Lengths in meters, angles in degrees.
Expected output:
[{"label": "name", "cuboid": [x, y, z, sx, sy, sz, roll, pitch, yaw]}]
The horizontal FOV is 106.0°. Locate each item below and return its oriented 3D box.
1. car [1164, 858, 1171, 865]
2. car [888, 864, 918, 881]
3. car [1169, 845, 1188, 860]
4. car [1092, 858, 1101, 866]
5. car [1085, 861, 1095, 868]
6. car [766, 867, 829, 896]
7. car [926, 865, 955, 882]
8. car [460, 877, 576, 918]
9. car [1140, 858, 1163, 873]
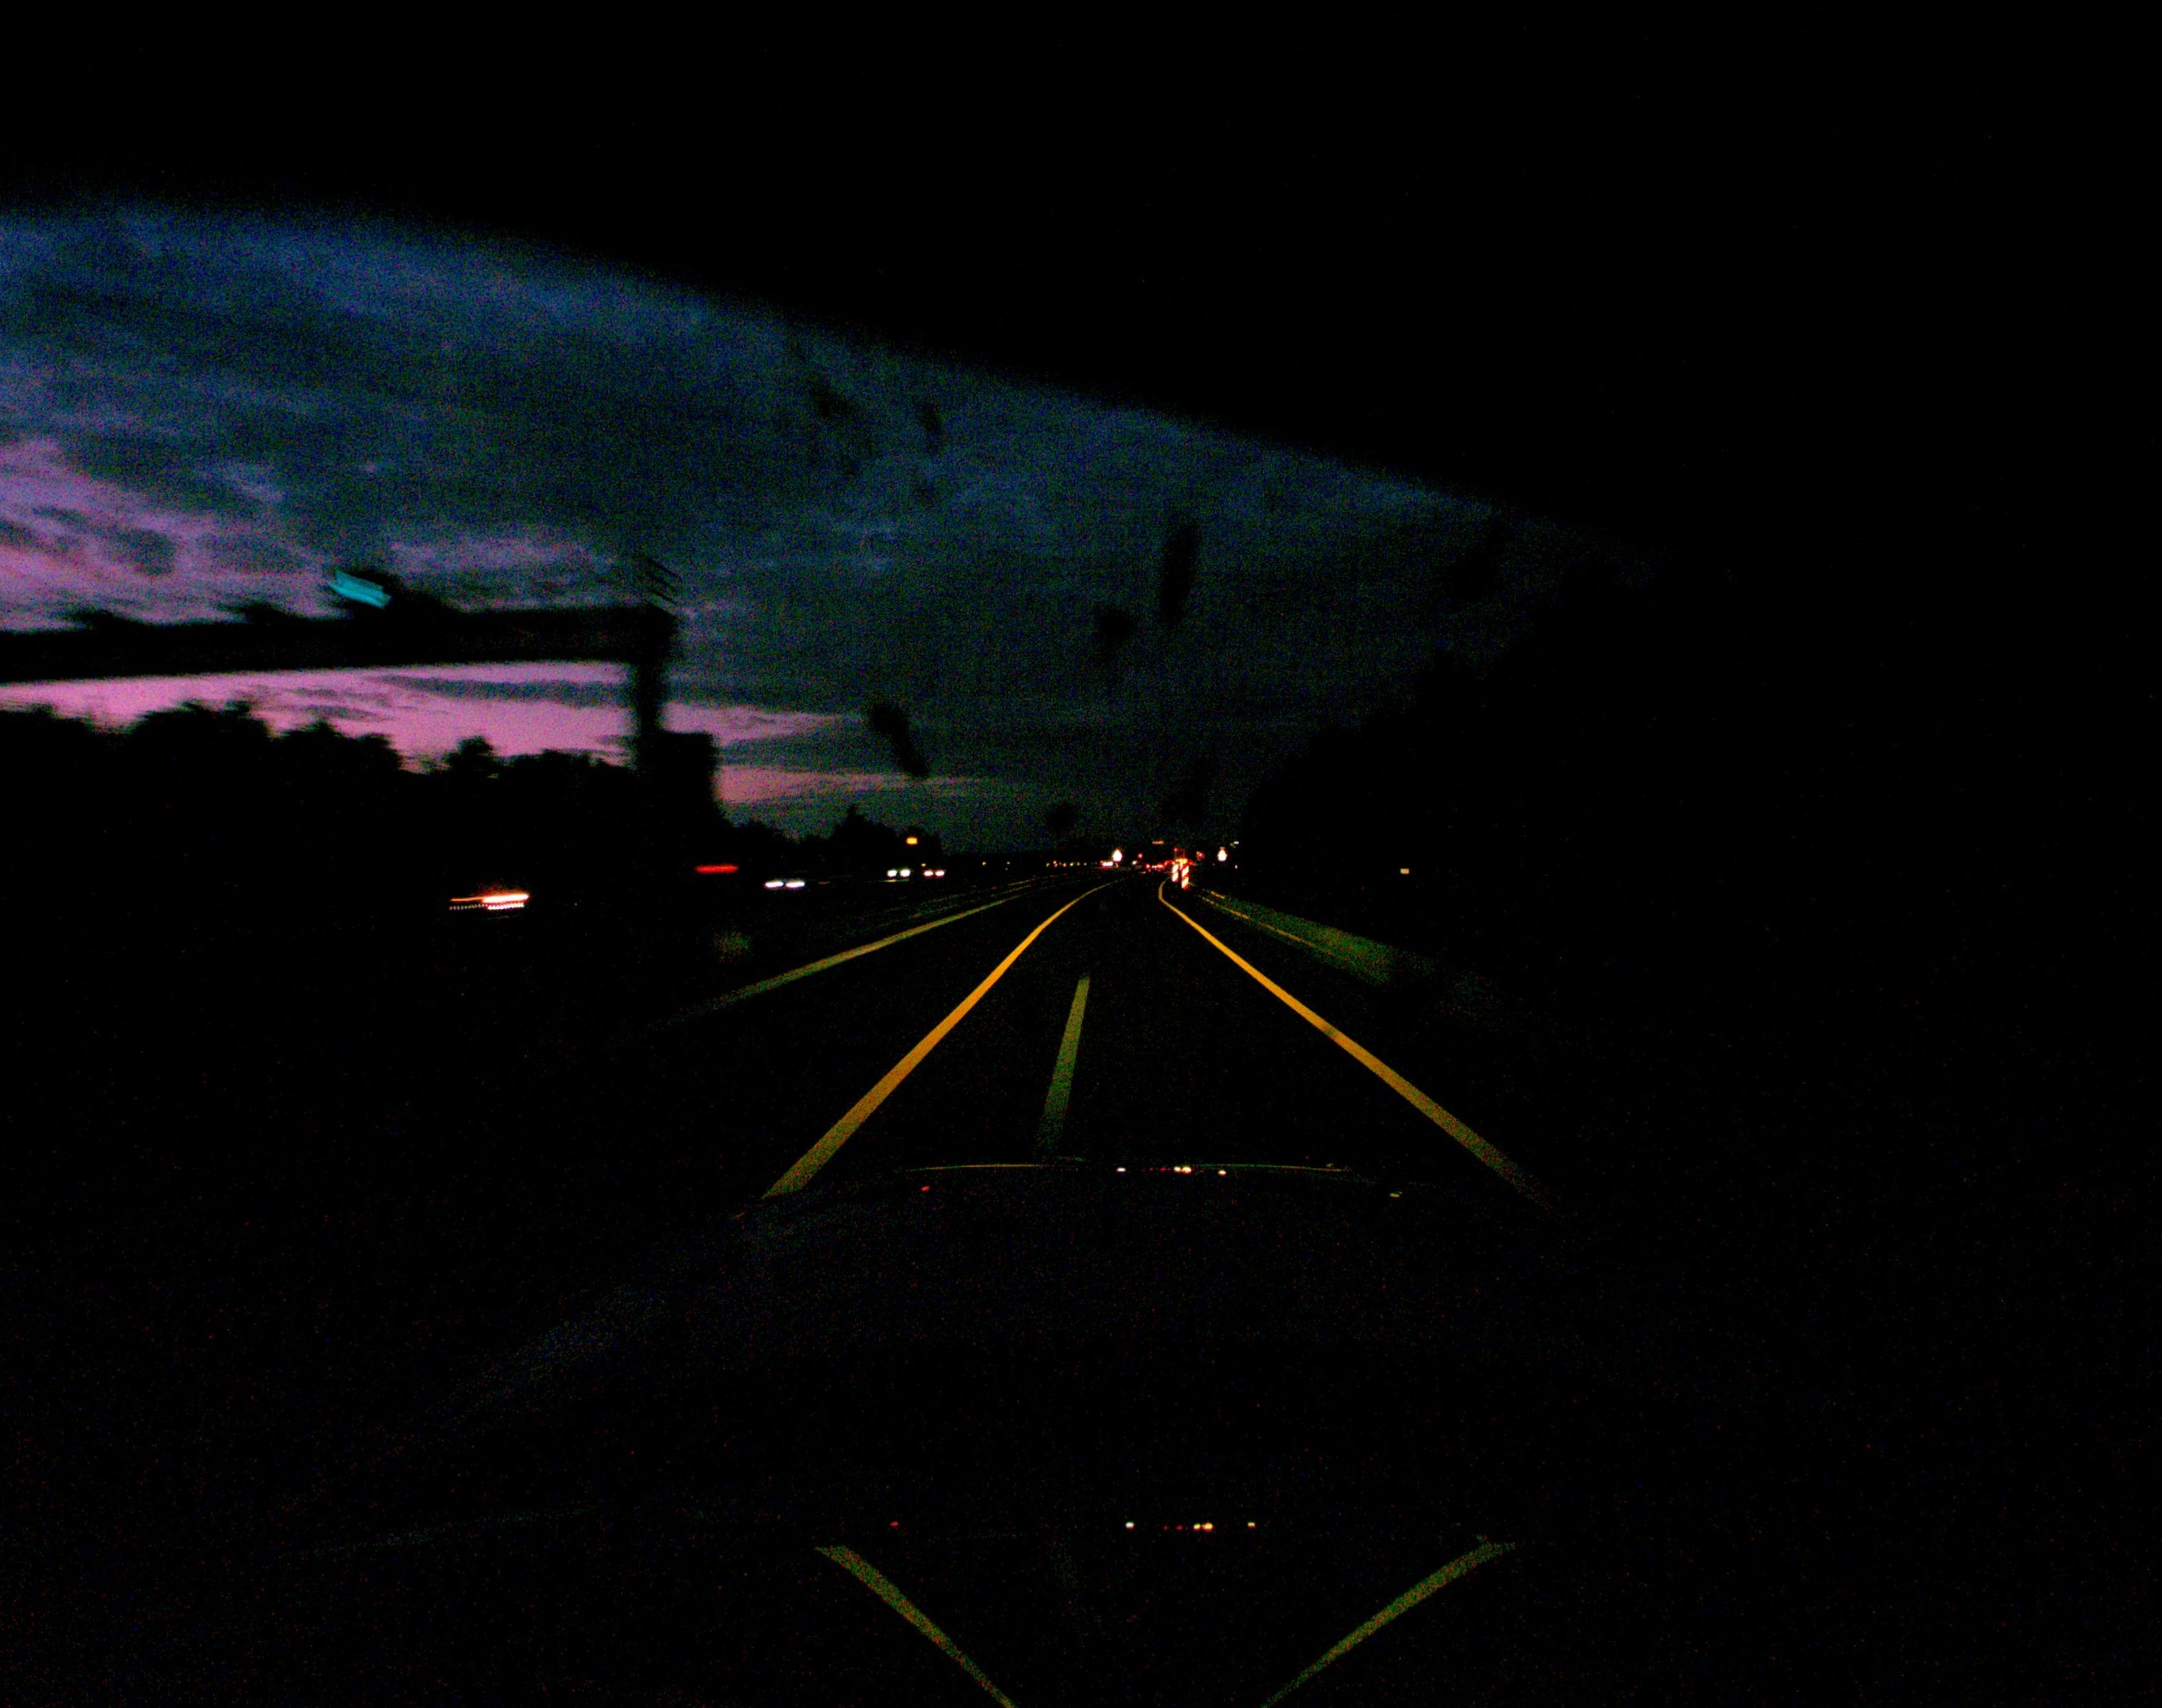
[{"label": "car", "cuboid": [27.632, 2.370, 260.323, 1.983, 2.014, 4.007, 0, -1, 6]}, {"label": "car", "cuboid": [-18.723, 1.926, 85.835, 1.897, 1.715, 3.949, 0, -1, 5]}, {"label": "car", "cuboid": [23.757, -0.372, 198.255, 3.594, 3.396, 8.012, 0, -1, 0]}, {"label": "car", "cuboid": [3.763, 1.956, 197.191, 1.983, 1.828, 4.007, 0, -1, 6]}, {"label": "car", "cuboid": [2.089, 2.495, 190.035, 1.983, 1.714, 4.007, 0, -1, 6]}, {"label": "car", "cuboid": [-17.402, 1.651, 50.273, 1.822, 1.661, 4.847, 0, -1, 4]}, {"label": "car", "cuboid": [-14.611, 1.998, 85.199, 1.822, 1.661, 4.847, 0, -1, 4]}, {"label": "car", "cuboid": [-22.248, 1.660, 32.373, 1.695, 1.455, 3.933, 0, -1, 3]}, {"label": "car", "cuboid": [7.557, 1.200, 87.067, 2.257, 1.621, 4.002, 0, -1, 2]}]
